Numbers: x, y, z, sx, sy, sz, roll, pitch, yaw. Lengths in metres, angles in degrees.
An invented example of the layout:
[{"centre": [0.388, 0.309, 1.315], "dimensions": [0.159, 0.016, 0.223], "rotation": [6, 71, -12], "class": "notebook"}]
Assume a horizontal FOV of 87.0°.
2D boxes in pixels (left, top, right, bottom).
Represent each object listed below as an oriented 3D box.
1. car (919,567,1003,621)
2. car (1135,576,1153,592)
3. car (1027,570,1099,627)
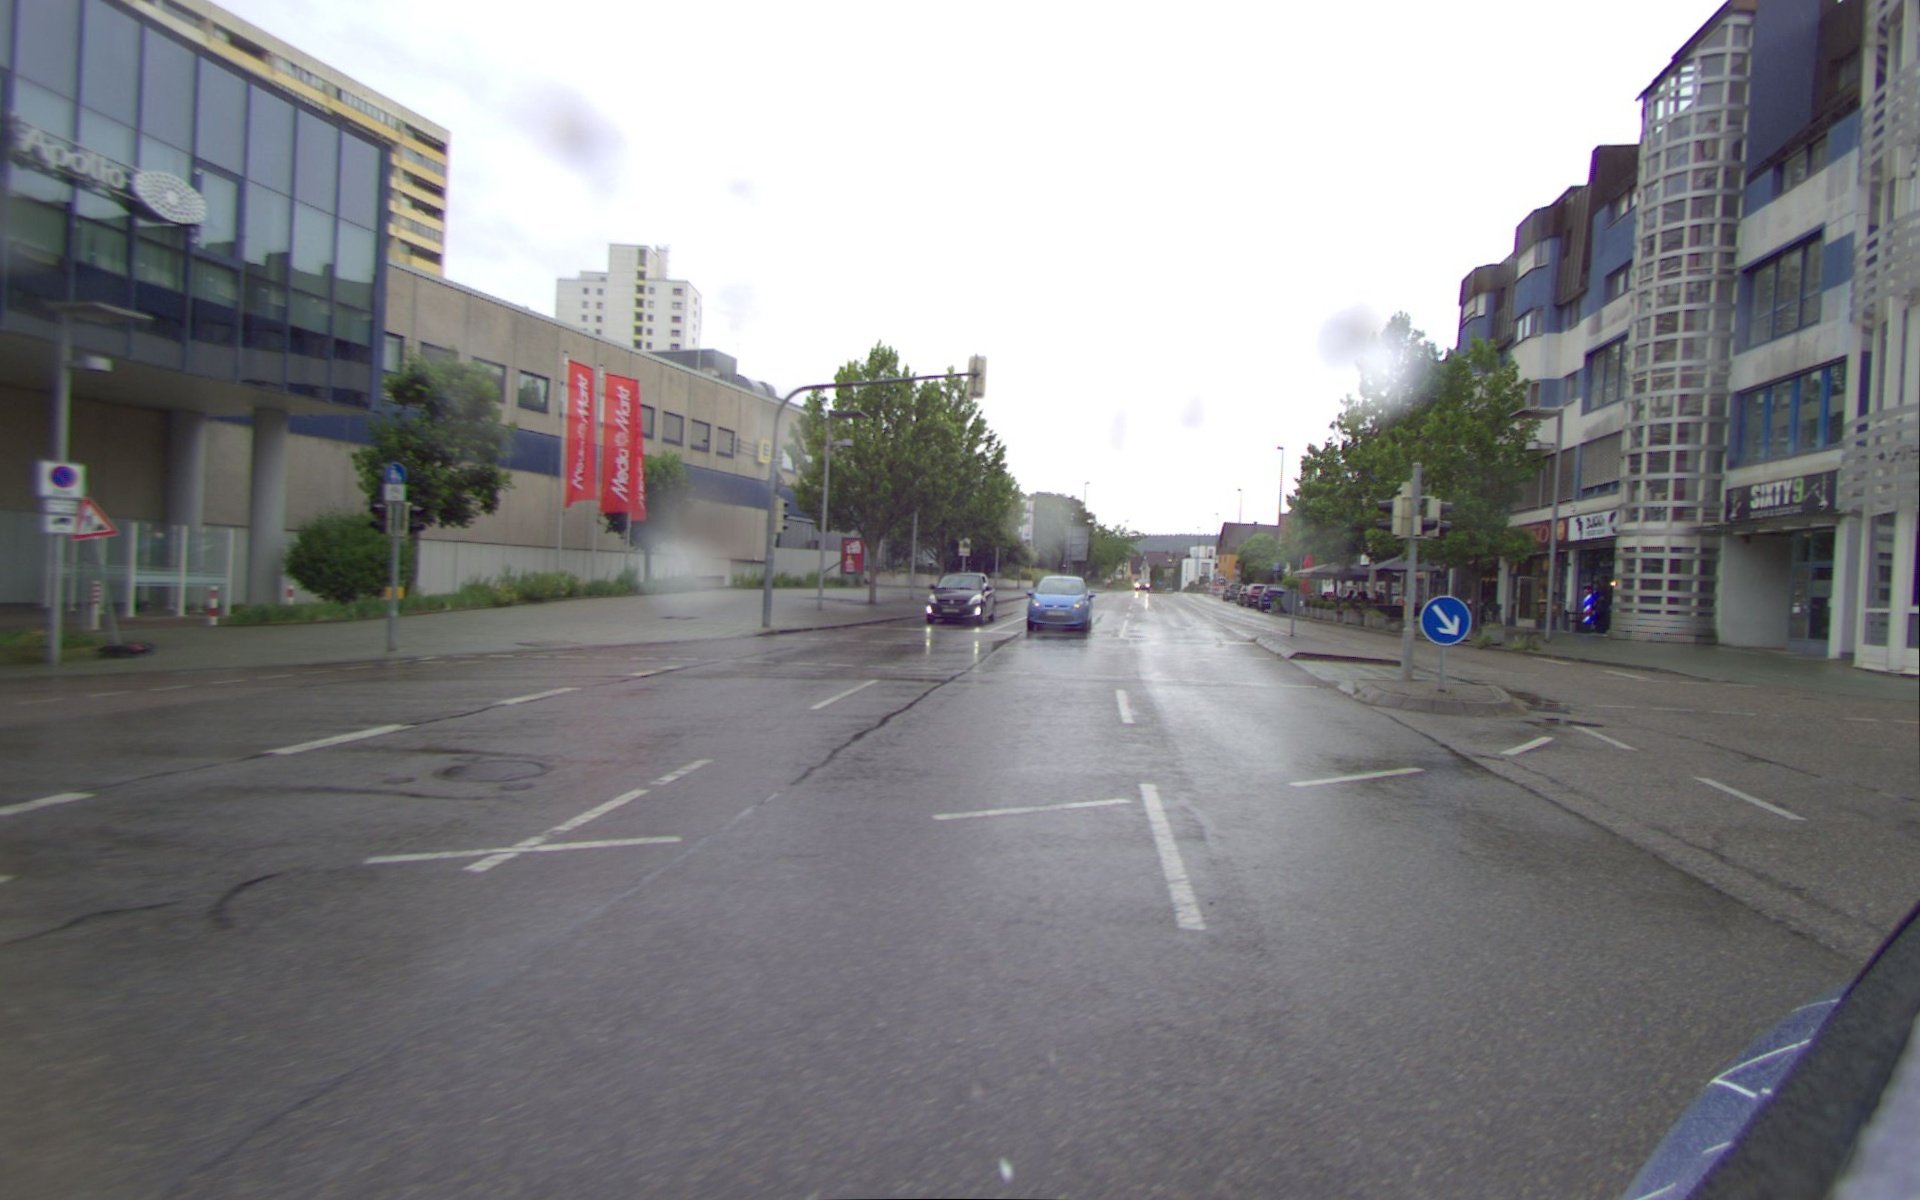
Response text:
[{"centre": [0.104, -0.227, 29.742], "dimensions": [1.717, 1.411, 3.685], "rotation": [2, 3, 12], "class": "car"}, {"centre": [22.916, -1.969, 125.731], "dimensions": [1.970, 1.798, 3.983], "rotation": [2, 0, 13], "class": "car"}, {"centre": [2.935, -0.099, 28.327], "dimensions": [1.653, 1.414, 3.845], "rotation": [2, 3, 11], "class": "car"}]
